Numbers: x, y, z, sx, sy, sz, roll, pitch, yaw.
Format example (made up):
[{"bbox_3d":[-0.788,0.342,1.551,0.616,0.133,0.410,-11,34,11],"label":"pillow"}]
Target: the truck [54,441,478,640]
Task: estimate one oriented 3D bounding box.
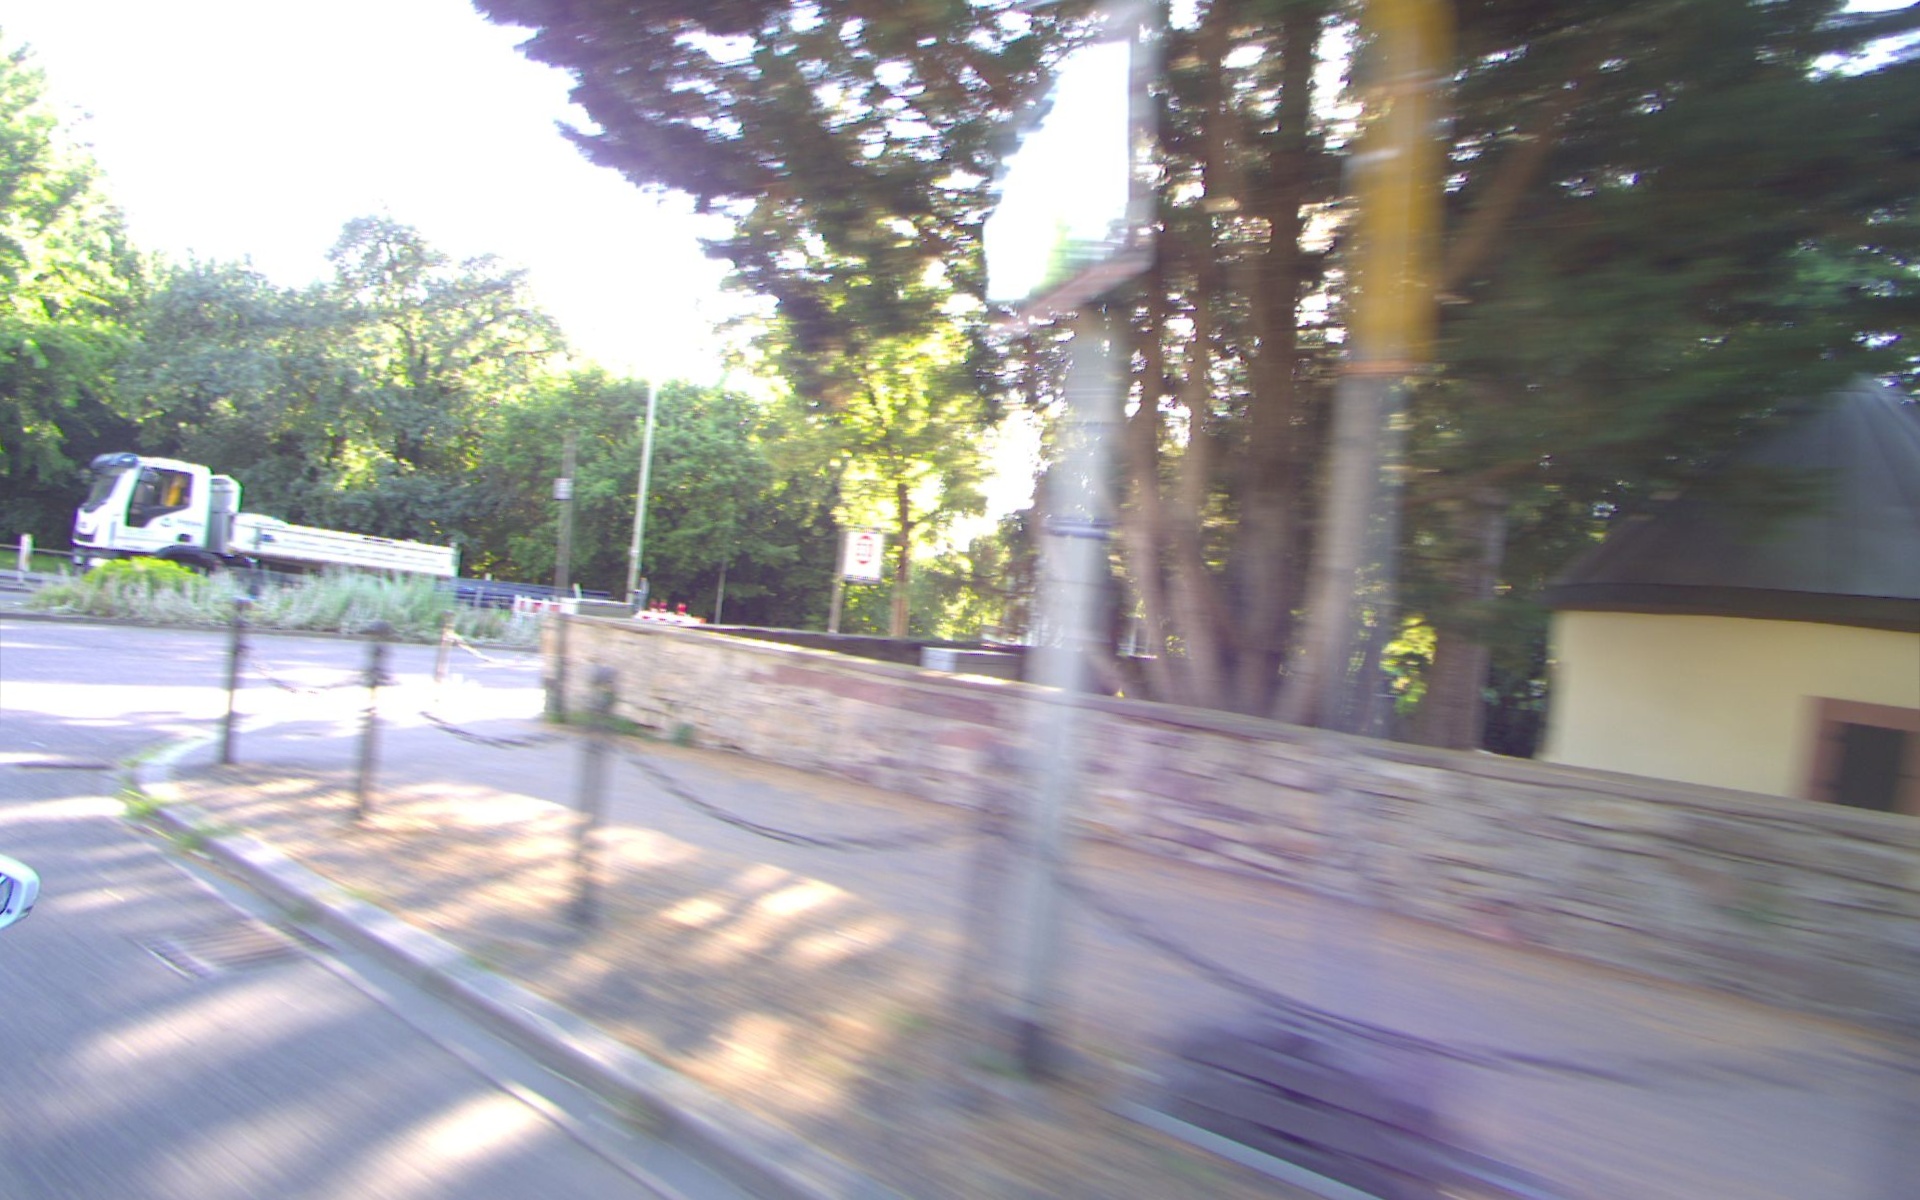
[{"bbox_3d":[-13.967,-1.026,20.784,2.398,2.928,6.586,6,-3,40],"label":"truck"}]
